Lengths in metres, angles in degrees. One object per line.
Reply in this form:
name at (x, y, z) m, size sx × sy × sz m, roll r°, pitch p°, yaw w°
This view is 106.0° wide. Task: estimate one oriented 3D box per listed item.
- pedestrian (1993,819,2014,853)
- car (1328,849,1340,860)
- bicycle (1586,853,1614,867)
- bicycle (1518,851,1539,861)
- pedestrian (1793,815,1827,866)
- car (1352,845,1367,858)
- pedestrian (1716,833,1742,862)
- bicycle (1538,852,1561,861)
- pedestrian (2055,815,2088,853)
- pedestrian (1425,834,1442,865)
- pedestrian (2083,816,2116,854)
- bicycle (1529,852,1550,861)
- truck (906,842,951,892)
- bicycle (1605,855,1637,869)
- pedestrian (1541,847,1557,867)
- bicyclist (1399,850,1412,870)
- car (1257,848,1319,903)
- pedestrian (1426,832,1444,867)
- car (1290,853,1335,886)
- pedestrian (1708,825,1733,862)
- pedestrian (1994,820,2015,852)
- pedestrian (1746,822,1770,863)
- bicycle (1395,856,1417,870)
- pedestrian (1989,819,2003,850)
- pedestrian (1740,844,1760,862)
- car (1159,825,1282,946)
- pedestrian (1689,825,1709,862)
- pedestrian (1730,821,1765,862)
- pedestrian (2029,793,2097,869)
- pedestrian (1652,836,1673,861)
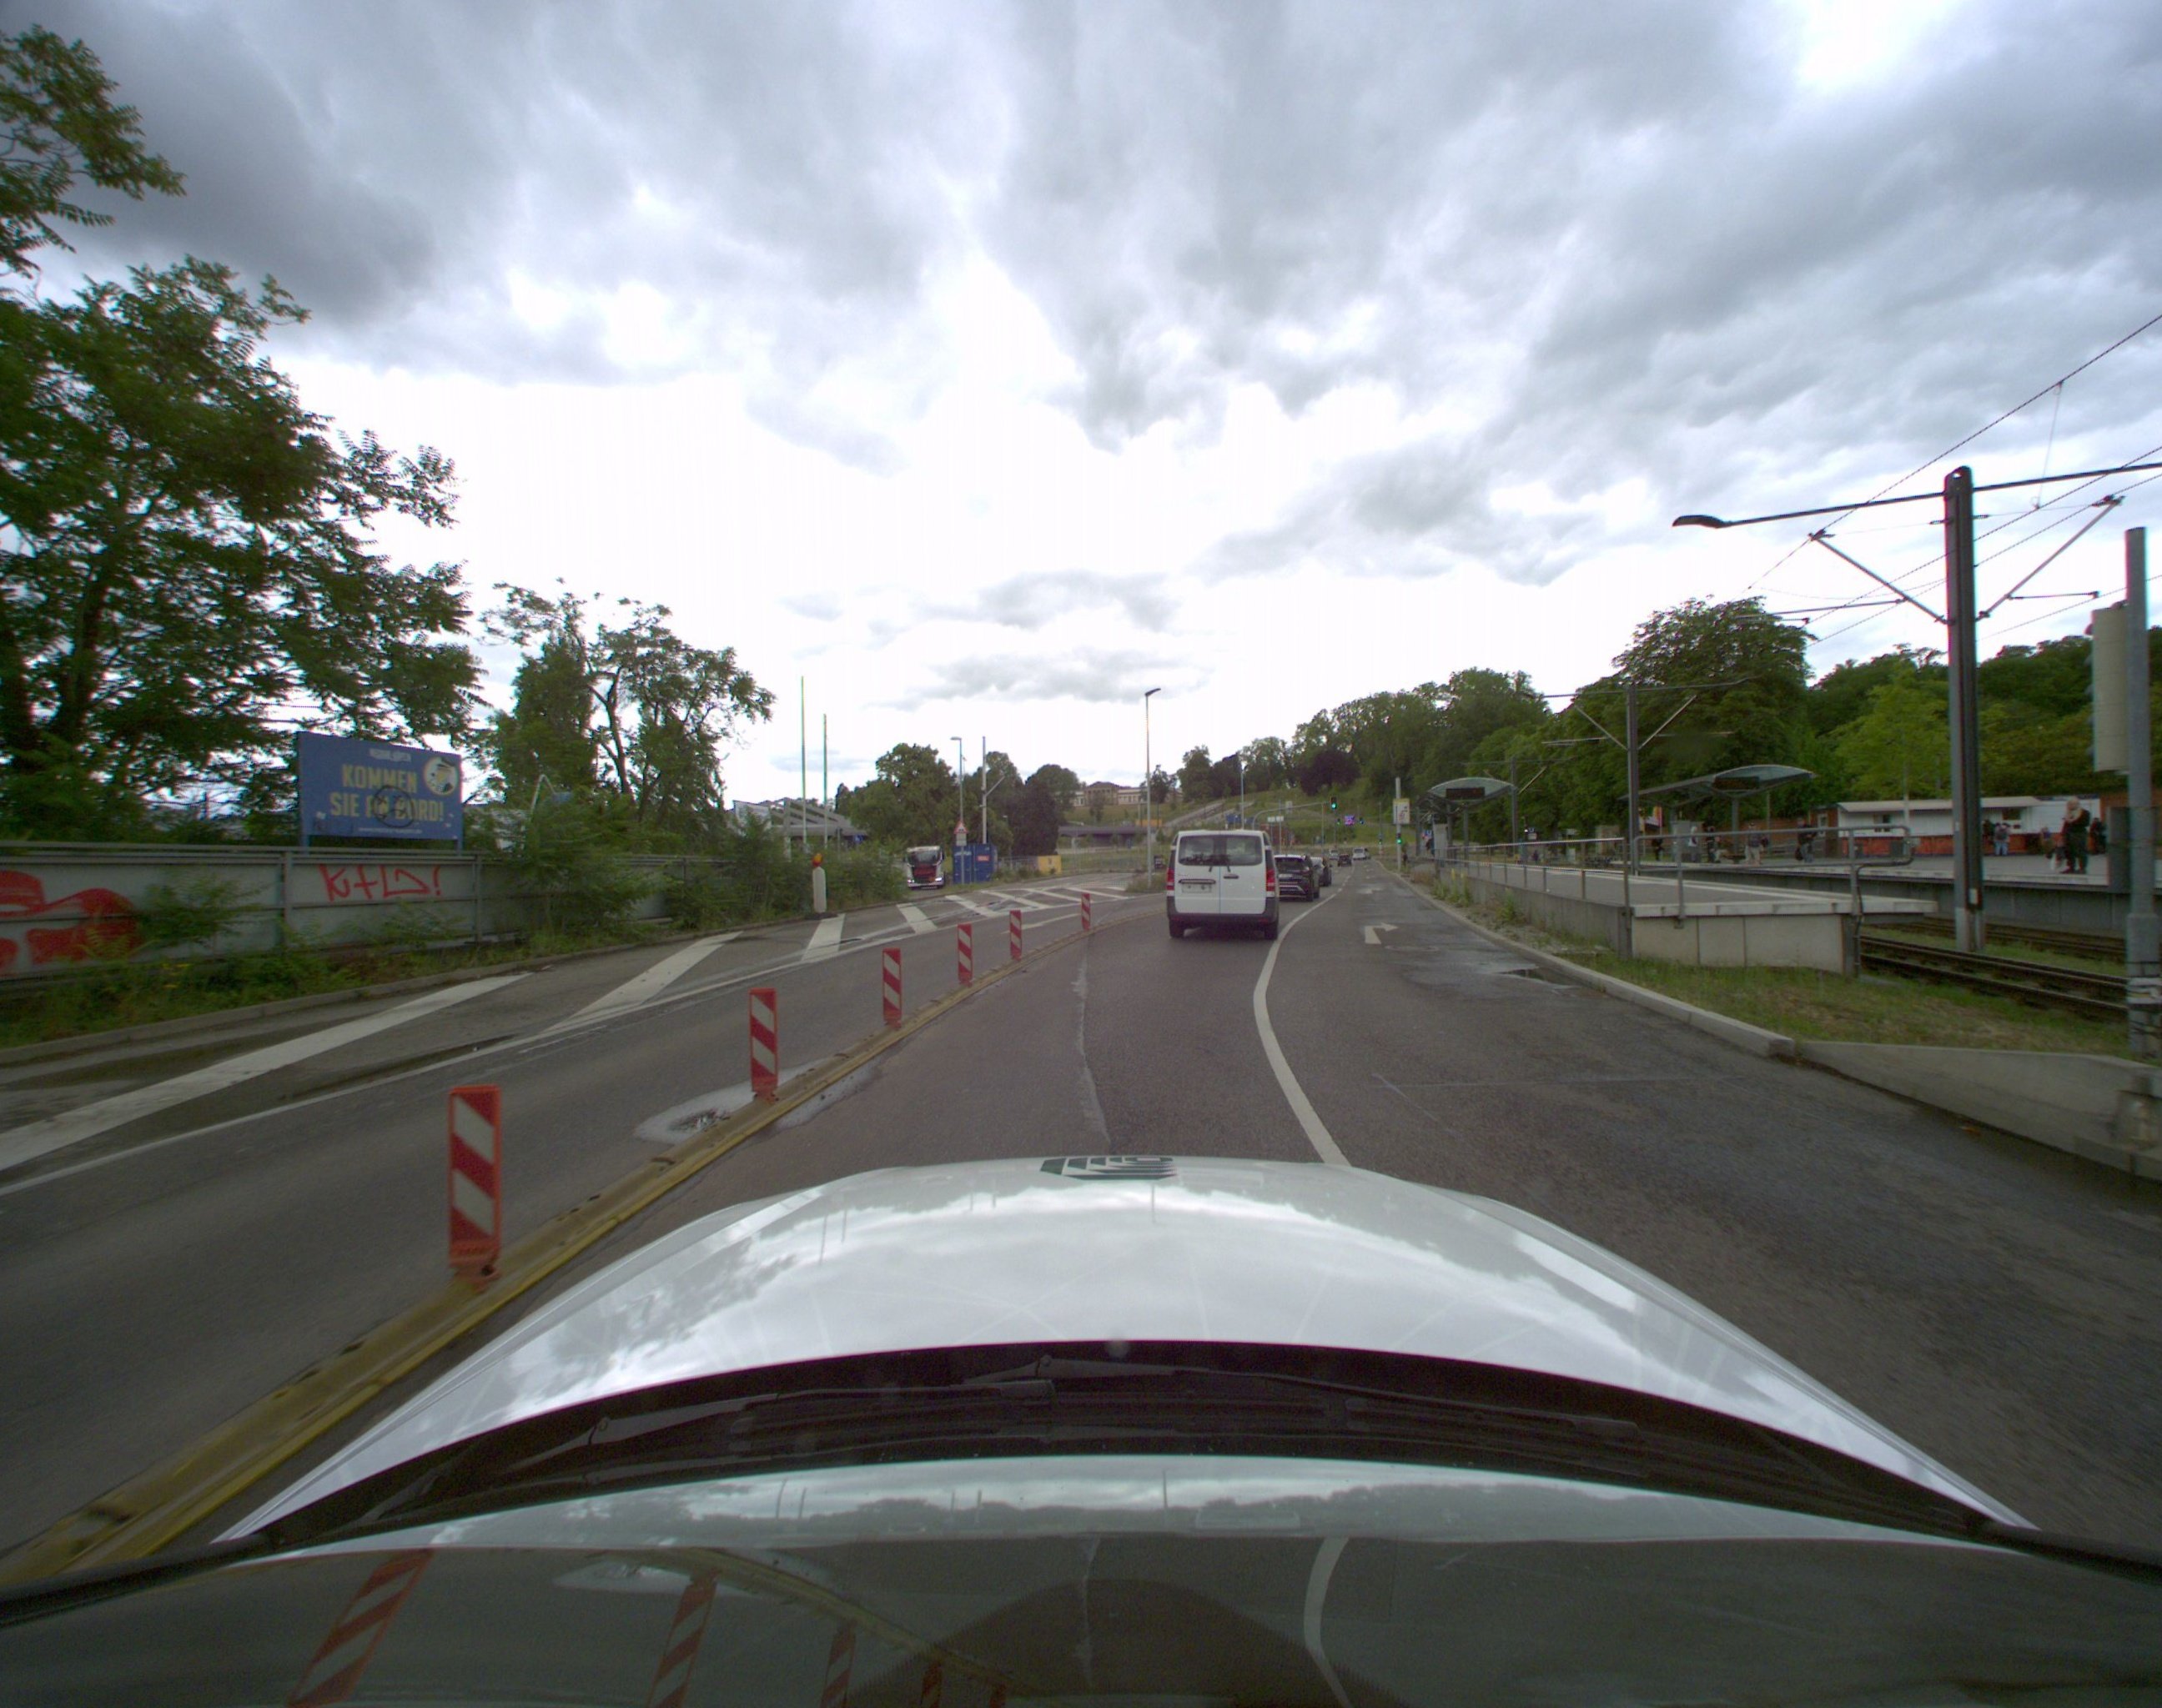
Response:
pedestrian at (43.196, -0.841, 38.152) m, size 0.481 × 1.535 × 0.462 m, roll 1°, pitch 0°, yaw 22°
car at (42.607, 0.085, 136.978) m, size 1.739 × 1.772 × 4.016 m, roll 1°, pitch 0°, yaw 15°
bicycle at (40.374, 0.462, 63.319) m, size 1.749 × 1.033 × 0.486 m, roll 1°, pitch 0°, yaw 20°
bicycle at (49.671, 0.231, 90.425) m, size 1.896 × 0.975 × 0.533 m, roll -2°, pitch -1°, yaw 20°
pedestrian at (26.696, -0.485, 29.834) m, size 0.627 × 1.838 × 0.955 m, roll 1°, pitch 0°, yaw 21°
car at (43.764, -0.378, 127.960) m, size 2.183 × 2.013 × 5.175 m, roll 0°, pitch 0°, yaw 18°
pedestrian at (27.281, -0.273, 34.292) m, size 0.652 × 1.191 × 0.679 m, roll 1°, pitch 0°, yaw 21°
bicycle at (47.535, 0.267, 82.651) m, size 1.896 × 0.896 × 0.533 m, roll -2°, pitch -1°, yaw 20°
pedestrian at (42.184, -0.833, 34.691) m, size 0.651 × 1.583 × 0.623 m, roll 1°, pitch 0°, yaw 6°
pedestrian at (17.528, -0.233, 40.532) m, size 0.744 × 1.553 × 0.779 m, roll 1°, pitch 2°, yaw 21°
pedestrian at (42.796, -0.804, 34.228) m, size 0.581 × 1.583 × 0.624 m, roll 1°, pitch 0°, yaw 7°
bicycle at (48.406, 0.270, 86.011) m, size 1.896 × 0.975 × 0.533 m, roll -2°, pitch -1°, yaw 20°
truck at (-11.348, 0.893, 61.183) m, size 2.791 × 3.336 × 8.454 m, roll -3°, pitch 0°, yaw -8°
bicycle at (38.899, 0.551, 58.651) m, size 1.857 × 0.963 × 0.535 m, roll 1°, pitch 0°, yaw 20°
pedestrian at (38.101, 0.230, 66.309) m, size 0.830 × 1.609 × 0.777 m, roll -2°, pitch -1°, yaw -3°
bicyclist at (26.222, 0.494, 65.796) m, size 0.806 × 1.572 × 0.614 m, roll -2°, pitch 1°, yaw -20°
car at (7.166, 0.670, 27.896) m, size 1.824 × 1.729 × 4.080 m, roll 0°, pitch 0°, yaw 17°
pedestrian at (17.282, -0.217, 39.775) m, size 0.764 × 1.699 × 0.735 m, roll 1°, pitch 2°, yaw 21°
car at (11.682, 0.746, 40.981) m, size 1.823 × 1.582 × 4.083 m, roll 0°, pitch 0°, yaw 20°
pedestrian at (29.260, -0.481, 37.260) m, size 0.668 × 1.677 × 0.680 m, roll 1°, pitch 0°, yaw 16°
pedestrian at (42.798, -0.824, 37.755) m, size 0.481 × 1.487 × 0.462 m, roll 1°, pitch 0°, yaw 22°
pedestrian at (27.127, -0.448, 32.627) m, size 0.520 × 1.620 × 0.679 m, roll 1°, pitch 0°, yaw 21°
bicycle at (26.239, 0.734, 65.811) m, size 1.684 × 1.074 × 0.616 m, roll -2°, pitch 1°, yaw -20°
pedestrian at (43.662, -0.938, 38.860) m, size 0.338 × 1.487 × 0.317 m, roll 1°, pitch 0°, yaw 22°
pedestrian at (27.652, -0.028, 33.655) m, size 0.556 × 0.740 × 0.427 m, roll 1°, pitch 0°, yaw 28°
car at (2.752, 0.498, 15.244) m, size 1.945 × 1.904 × 4.478 m, roll 0°, pitch 0°, yaw 14°
pedestrian at (28.698, -0.489, 37.816) m, size 0.540 × 1.677 × 0.678 m, roll 1°, pitch 0°, yaw 16°
pedestrian at (27.562, -0.511, 33.676) m, size 0.855 × 1.677 × 0.763 m, roll 1°, pitch 0°, yaw 9°
pedestrian at (22.509, -0.519, 18.685) m, size 0.627 × 1.687 × 0.870 m, roll 1°, pitch 0°, yaw 19°
pedestrian at (30.800, -0.296, 43.147) m, size 0.668 × 1.323 × 0.972 m, roll 1°, pitch 0°, yaw 18°
